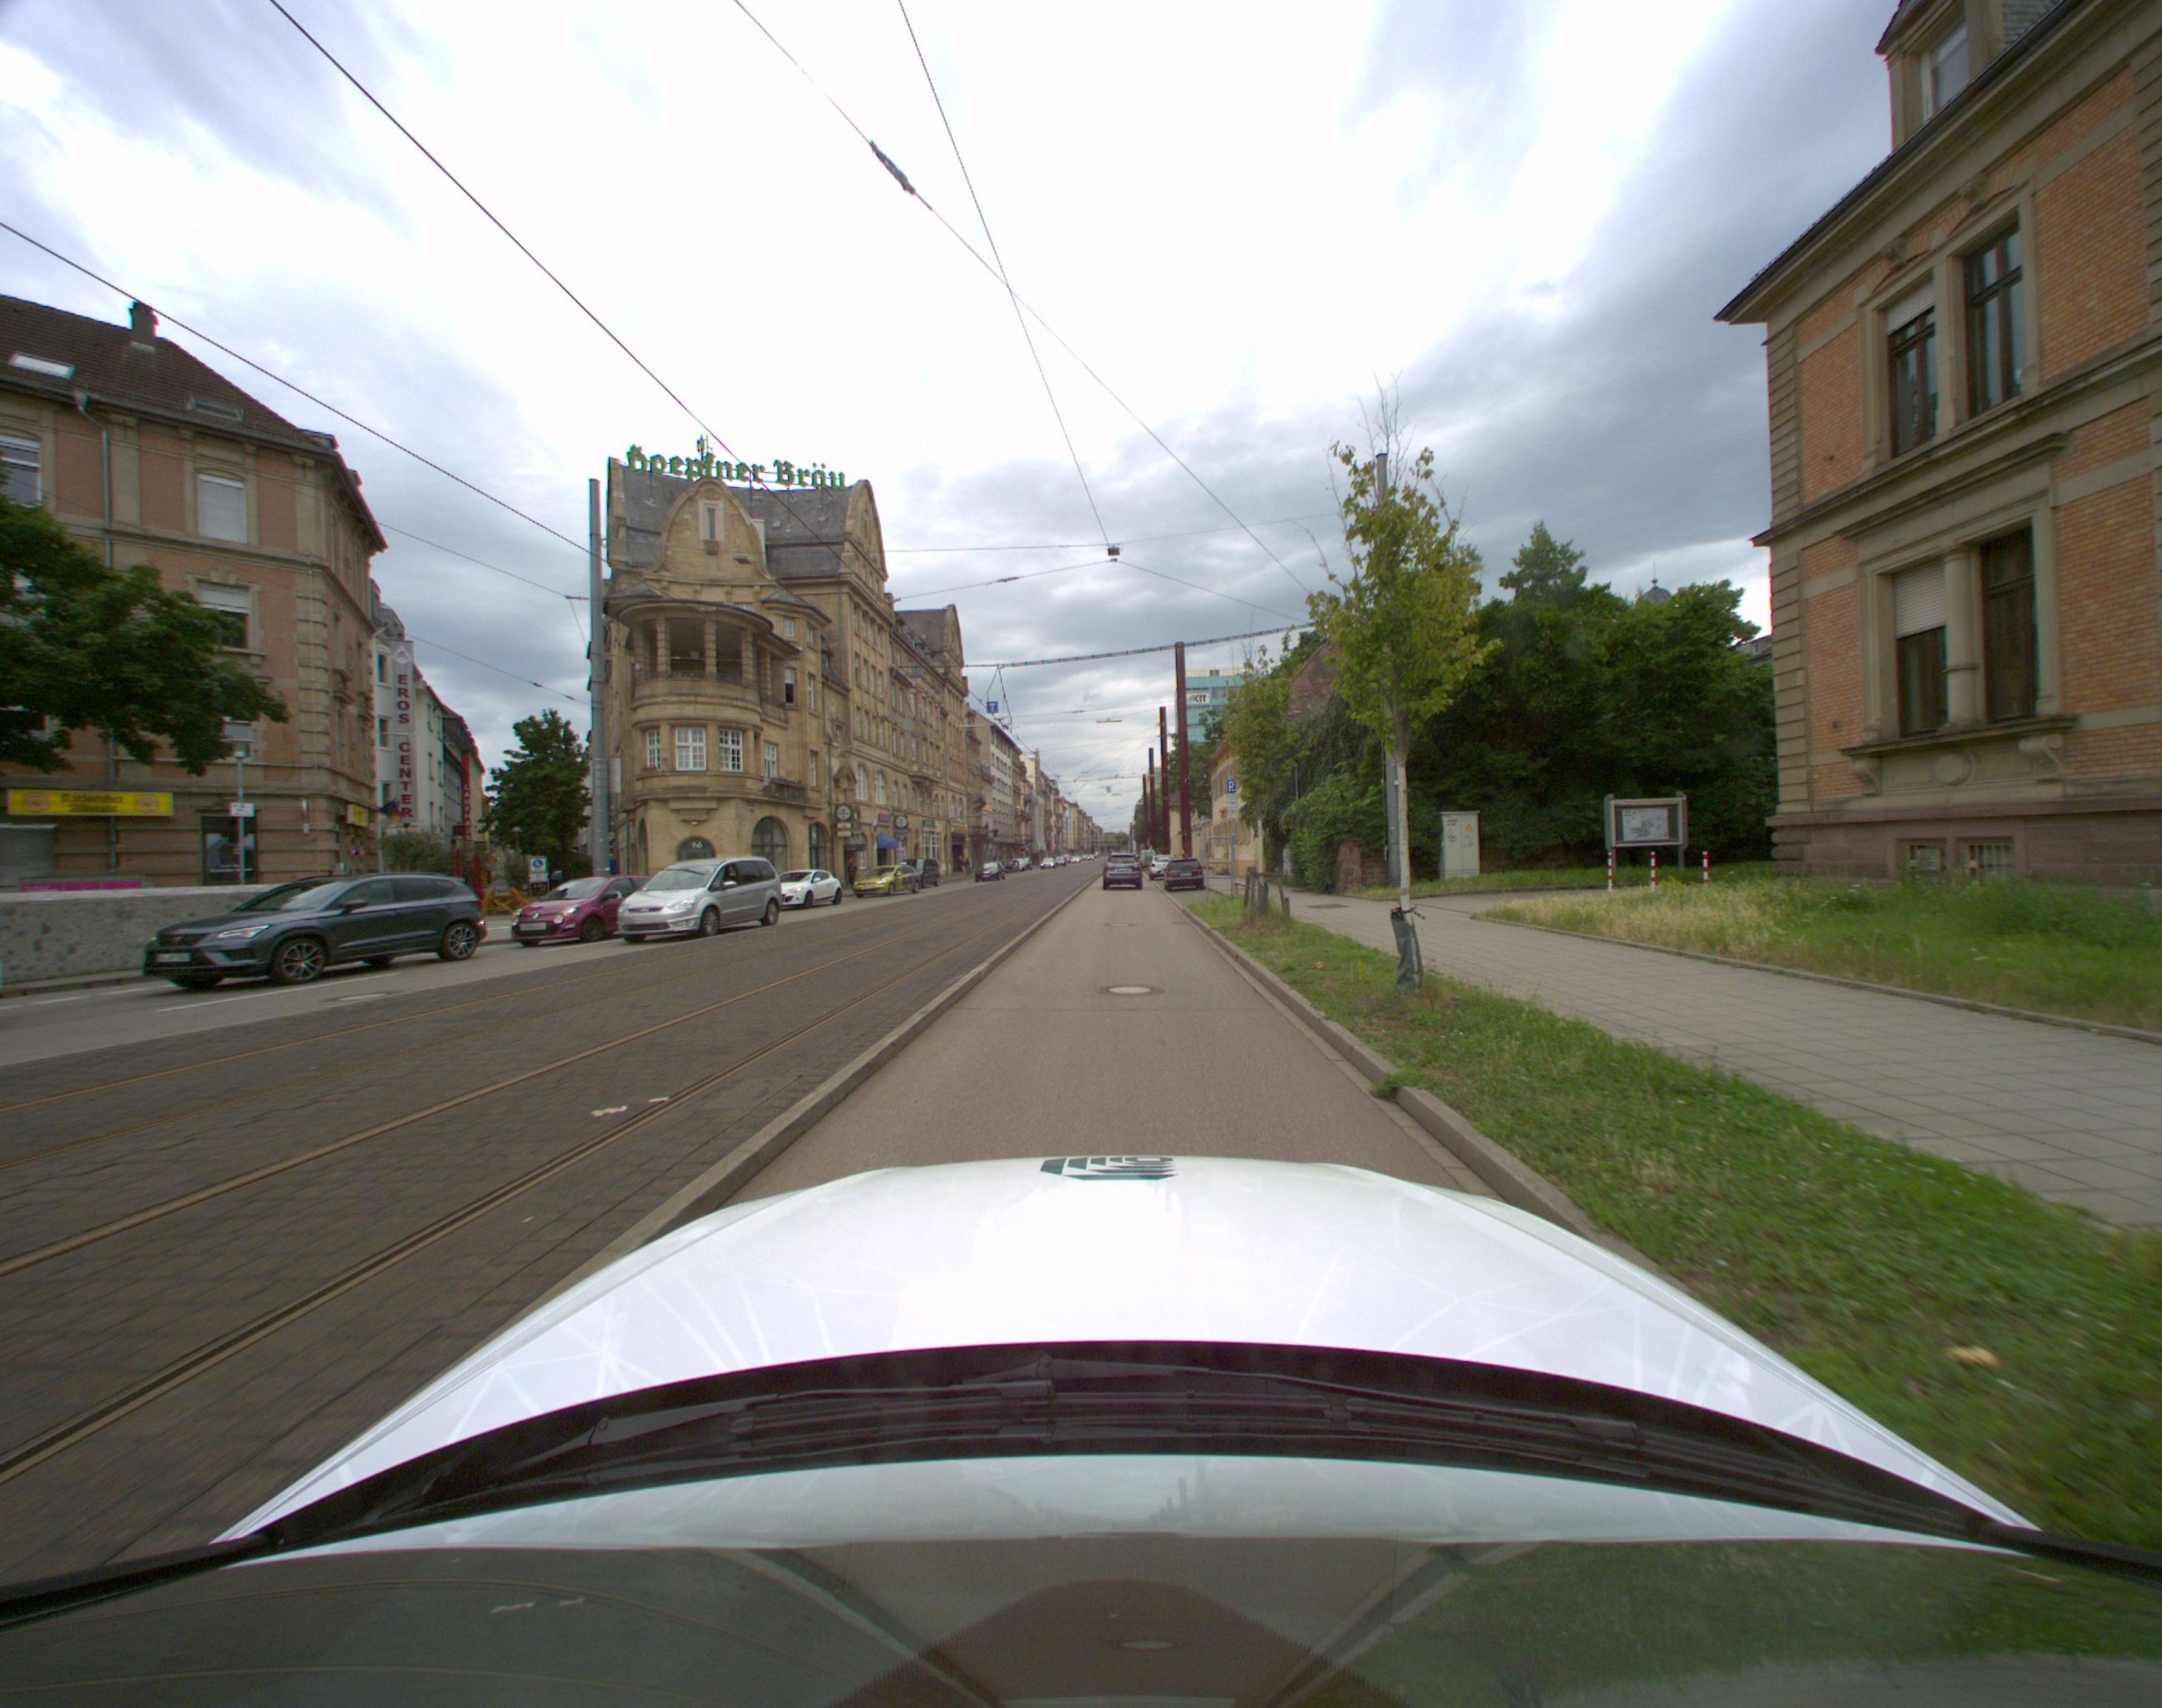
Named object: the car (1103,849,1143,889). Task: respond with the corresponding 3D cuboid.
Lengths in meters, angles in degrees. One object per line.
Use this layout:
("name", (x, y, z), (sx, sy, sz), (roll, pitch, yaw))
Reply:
("car", (1.992, 0.675, 38.561), (1.742, 1.756, 3.926), (1, 0, 3))

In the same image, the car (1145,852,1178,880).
("car", (5.102, 0.736, 52.158), (1.748, 1.574, 3.933), (-4, 0, 2))

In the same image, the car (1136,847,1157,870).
("car", (6.714, 0.429, 83.956), (1.844, 2.115, 4.988), (-4, 0, 3))

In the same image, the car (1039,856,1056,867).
("car", (-4.394, 0.957, 106.672), (1.752, 1.449, 4.618), (-2, 0, 3))

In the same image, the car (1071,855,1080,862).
("car", (-1.096, 0.961, 169.552), (1.680, 1.420, 4.138), (-2, 0, 3))

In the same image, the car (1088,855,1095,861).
("car", (3.030, 1.246, 243.746), (1.987, 1.635, 3.999), (-1, -1, 0))

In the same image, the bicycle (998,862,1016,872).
("bicycle", (-8.089, 1.460, 89.316), (1.963, 1.001, 0.462), (-2, 0, -5))

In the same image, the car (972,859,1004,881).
("car", (-6.736, 1.146, 59.512), (1.822, 1.433, 4.664), (-4, 0, -1))

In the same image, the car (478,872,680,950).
("car", (-11.295, 1.218, 18.708), (1.853, 1.399, 3.902), (-4, 0, 6))

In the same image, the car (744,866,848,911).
("car", (-10.330, 1.210, 29.907), (1.917, 1.380, 4.265), (-2, 0, 6))

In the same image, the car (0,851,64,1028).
("car", (-12.921, 0.959, 6.893), (1.853, 1.916, 5.111), (-2, 0, 7))

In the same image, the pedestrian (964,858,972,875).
("pedestrian", (-10.706, 1.193, 77.185), (0.565, 1.598, 0.719), (-2, 0, 2))

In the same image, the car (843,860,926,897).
("car", (-9.240, 1.116, 38.741), (1.885, 1.511, 4.445), (-3, 0, 14))

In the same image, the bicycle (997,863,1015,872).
("bicycle", (-8.125, 1.470, 88.531), (1.918, 1.001, 0.462), (-2, 0, -5))

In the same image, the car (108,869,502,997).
("car", (-12.020, 1.118, 13.131), (1.853, 1.534, 4.311), (-4, 0, 7))

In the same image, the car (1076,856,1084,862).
("car", (-0.296, 1.369, 231.529), (1.987, 1.635, 3.999), (-1, -1, 0))

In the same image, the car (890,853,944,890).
("car", (-9.910, 1.011, 49.666), (1.891, 1.977, 5.100), (-4, 0, 2))

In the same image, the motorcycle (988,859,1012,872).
("motorcycle", (-8.589, 1.234, 86.215), (2.353, 1.302, 0.874), (-2, 0, -34))

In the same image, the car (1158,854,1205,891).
("car", (4.364, 0.764, 35.728), (1.631, 1.433, 3.933), (-4, 0, 2))

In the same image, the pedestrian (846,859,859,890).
("pedestrian", (-13.054, 1.151, 46.536), (0.493, 1.728, 0.765), (-2, 0, -1))

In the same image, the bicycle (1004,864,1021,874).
("bicycle", (-7.820, 1.694, 92.741), (1.963, 1.001, 0.462), (-2, 0, -5))

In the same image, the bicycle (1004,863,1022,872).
("bicycle", (-7.855, 1.584, 93.843), (1.963, 1.001, 0.462), (-2, 0, -5))

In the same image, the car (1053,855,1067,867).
("car", (-3.200, 1.081, 125.473), (1.752, 1.671, 4.618), (-2, 0, 3))

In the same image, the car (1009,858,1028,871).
("car", (-7.532, 1.233, 98.221), (1.769, 1.504, 4.404), (-2, 0, 3))

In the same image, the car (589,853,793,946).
("car", (-8.452, 0.888, 18.281), (1.855, 1.706, 4.914), (-3, 0, 4))

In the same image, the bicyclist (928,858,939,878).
("bicyclist", (-11.360, 1.058, 62.646), (0.608, 1.487, 0.973), (-2, 0, 3))

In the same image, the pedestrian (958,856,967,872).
("pedestrian", (-11.852, 1.012, 81.305), (0.682, 1.613, 0.742), (-2, 0, 2))

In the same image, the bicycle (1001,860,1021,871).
("bicycle", (-8.115, 1.327, 94.685), (2.227, 1.126, 0.503), (-2, 0, -5))
